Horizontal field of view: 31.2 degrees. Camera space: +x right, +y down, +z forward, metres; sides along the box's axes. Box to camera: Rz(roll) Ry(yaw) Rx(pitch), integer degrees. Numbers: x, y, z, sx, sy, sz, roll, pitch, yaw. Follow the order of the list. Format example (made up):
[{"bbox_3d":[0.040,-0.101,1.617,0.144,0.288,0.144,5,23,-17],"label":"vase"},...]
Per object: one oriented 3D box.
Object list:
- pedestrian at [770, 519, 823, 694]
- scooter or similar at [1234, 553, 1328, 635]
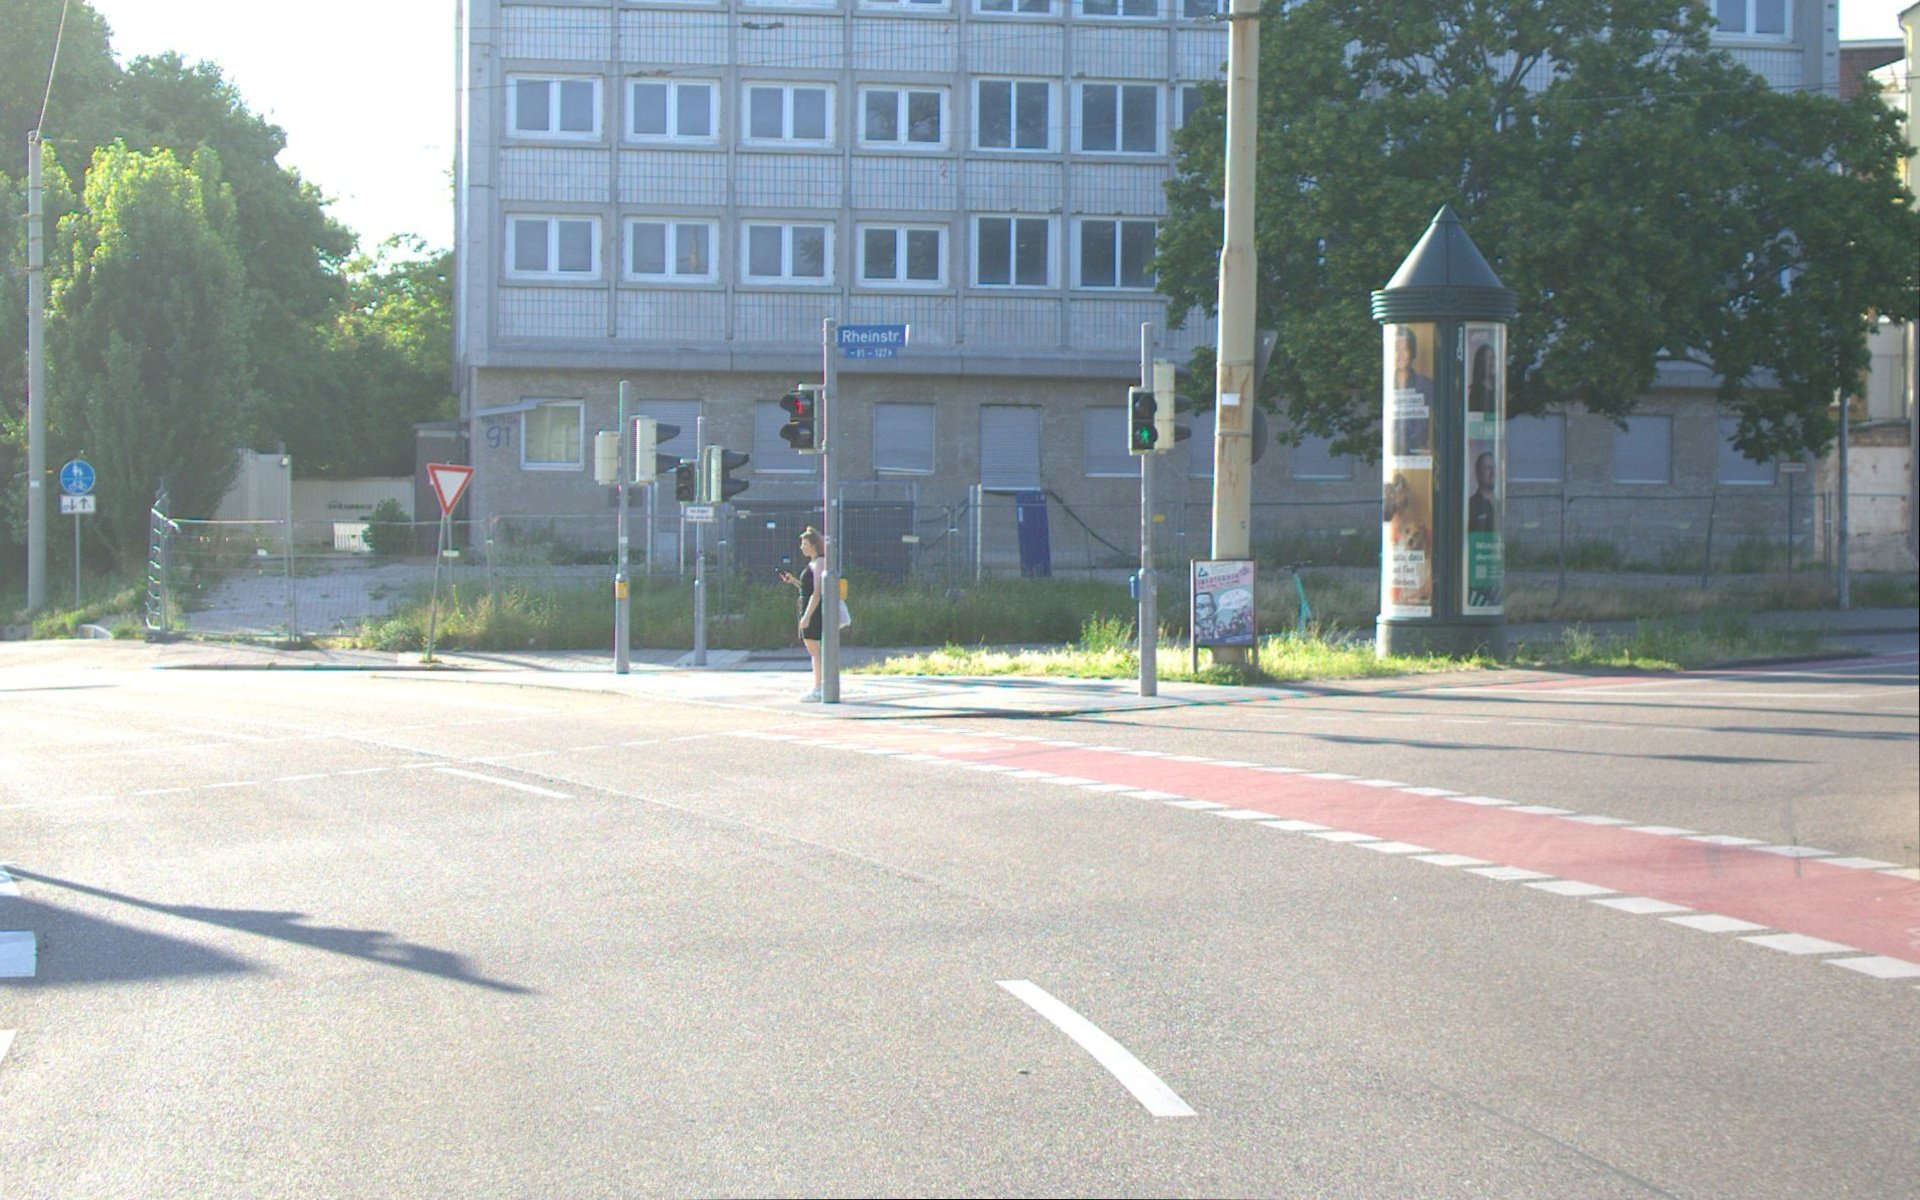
[{"bbox_3d":[-1.521,0.054,32.021,0.436,1.607,0.630,0,1,2],"label":"pedestrian"},{"bbox_3d":[4.617,-0.087,49.451,1.297,1.166,0.327,0,1,-7],"label":"scooter or similar"}]
